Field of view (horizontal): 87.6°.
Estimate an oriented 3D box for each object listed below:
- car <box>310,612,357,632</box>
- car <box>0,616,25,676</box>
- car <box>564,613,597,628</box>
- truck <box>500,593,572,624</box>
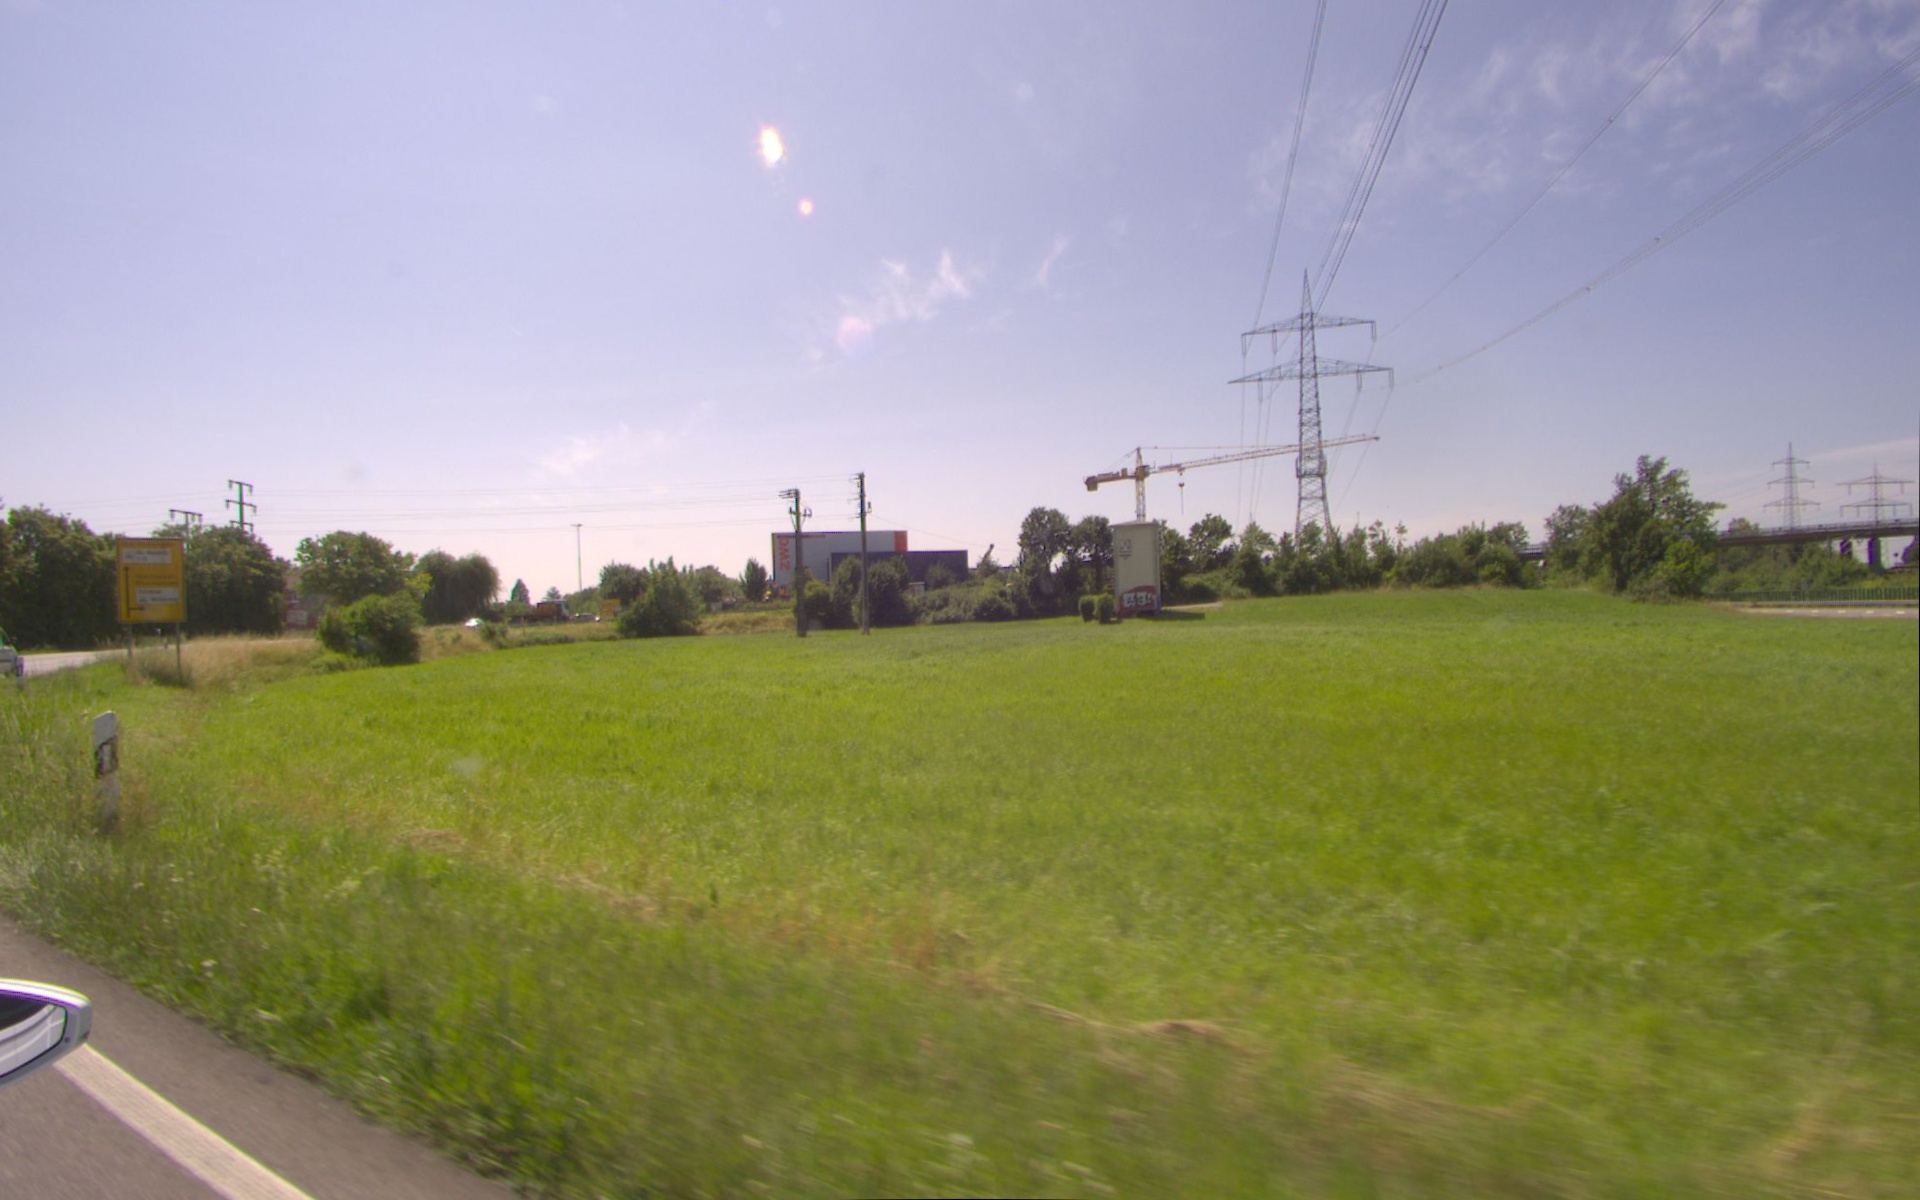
[{"bbox_3d":[-46.571,1.626,74.514,1.692,1.438,3.743,-1,-1,-11],"label":"car"},{"bbox_3d":[-29.406,1.388,29.671,1.885,1.755,3.798,-1,-1,-35],"label":"car"},{"bbox_3d":[-52.129,2.811,137.547,3.927,2.039,1.999,0,-2,-14],"label":"car"},{"bbox_3d":[-47.698,1.059,112.972,3.050,3.176,8.802,-1,-2,12],"label":"truck"}]
